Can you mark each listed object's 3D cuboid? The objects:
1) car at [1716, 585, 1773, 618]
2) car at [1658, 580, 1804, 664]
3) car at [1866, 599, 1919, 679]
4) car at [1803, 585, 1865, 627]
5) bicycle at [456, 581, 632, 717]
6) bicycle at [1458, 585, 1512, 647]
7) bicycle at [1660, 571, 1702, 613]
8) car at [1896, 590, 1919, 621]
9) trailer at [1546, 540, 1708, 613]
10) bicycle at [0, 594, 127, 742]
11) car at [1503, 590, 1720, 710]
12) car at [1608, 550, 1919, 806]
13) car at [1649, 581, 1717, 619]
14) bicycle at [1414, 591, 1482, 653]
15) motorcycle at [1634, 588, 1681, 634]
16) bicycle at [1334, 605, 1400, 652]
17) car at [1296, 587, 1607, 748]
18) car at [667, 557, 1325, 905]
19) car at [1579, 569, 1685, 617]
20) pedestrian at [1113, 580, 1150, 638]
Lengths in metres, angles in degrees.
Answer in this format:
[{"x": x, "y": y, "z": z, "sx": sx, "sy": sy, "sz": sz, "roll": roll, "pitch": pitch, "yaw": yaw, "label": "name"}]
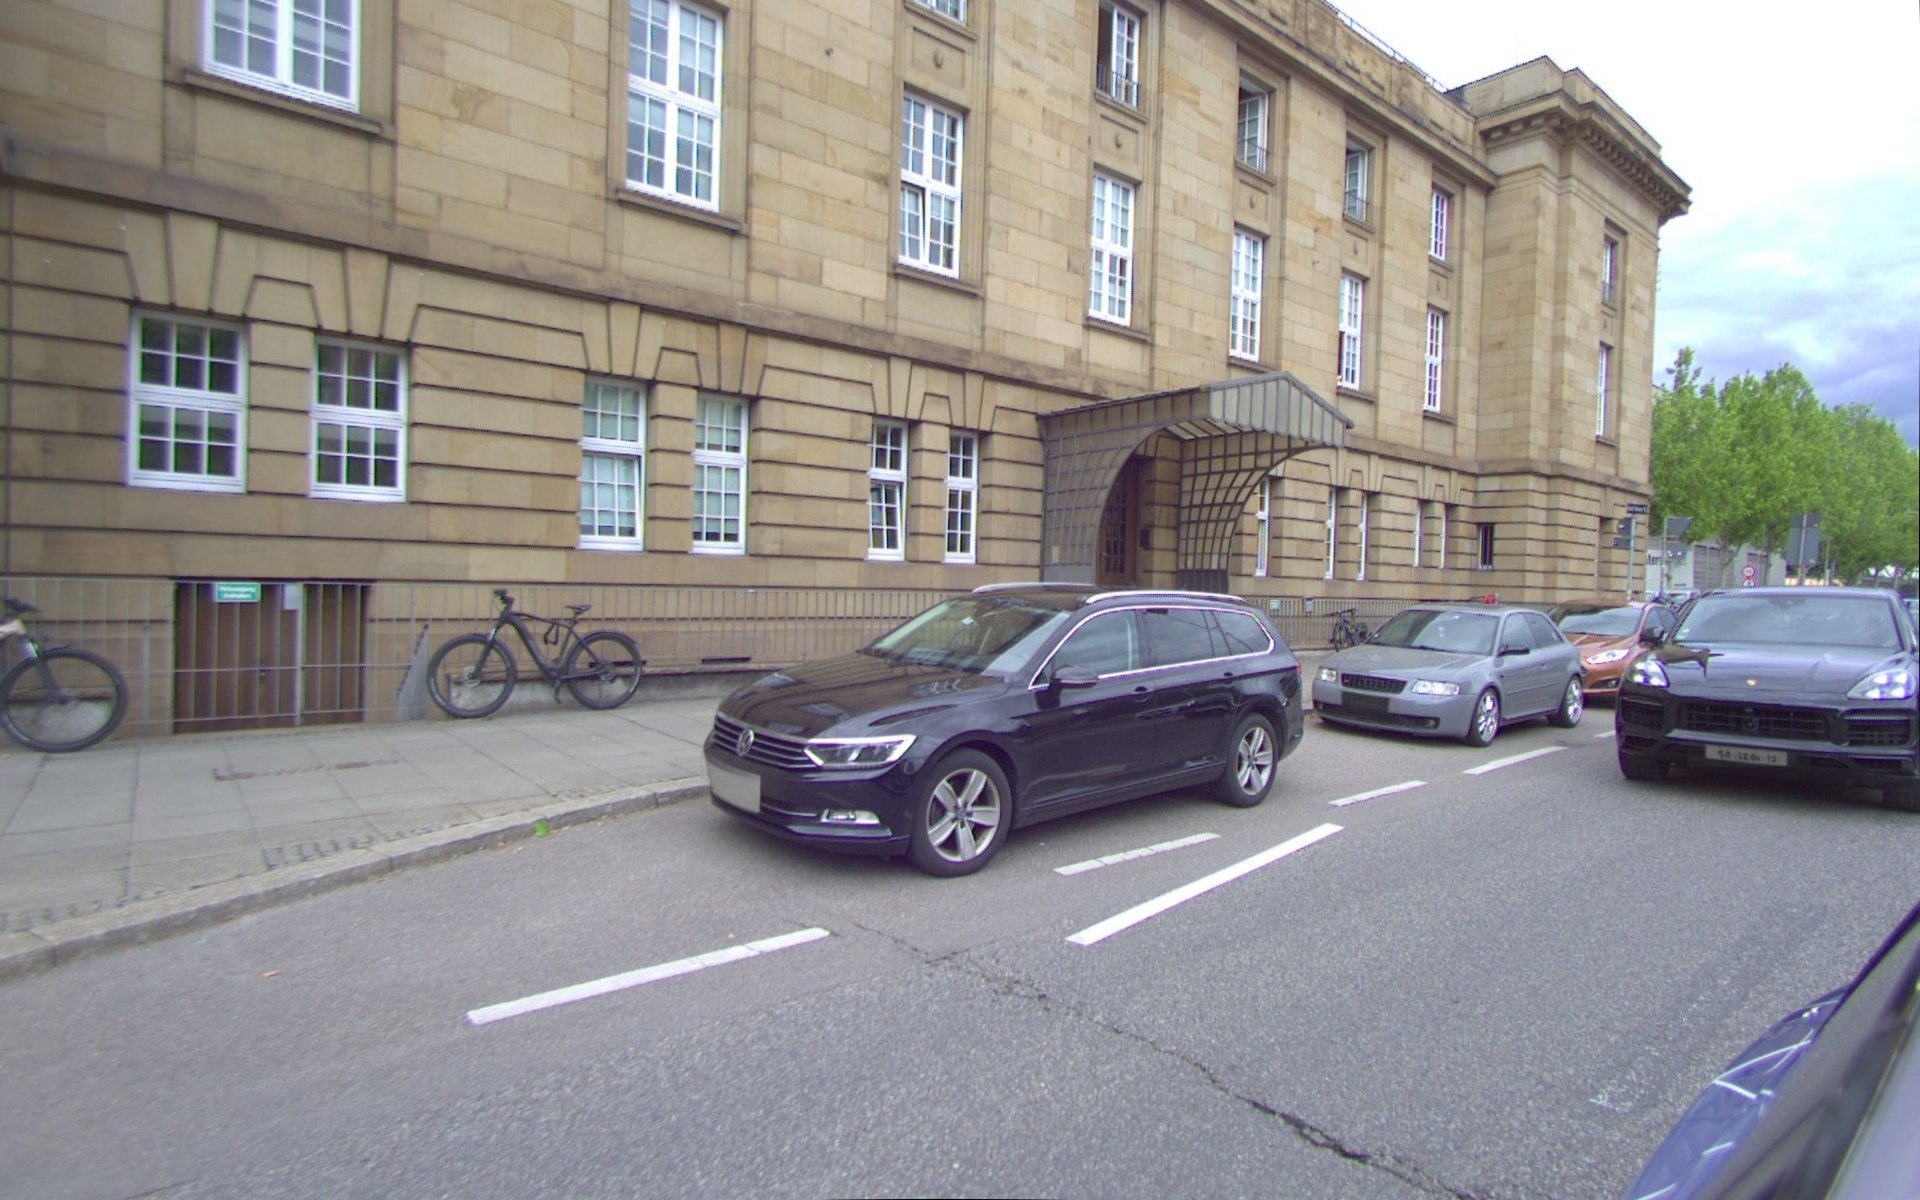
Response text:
[{"x": 37.375, "y": 0.051, "z": 48.212, "sx": 3.444, "sy": 1.549, "sz": 1.582, "roll": 0, "pitch": 1, "yaw": -42, "label": "car"}, {"x": 16.136, "y": 0.423, "z": 21.127, "sx": 3.641, "sy": 1.571, "sz": 1.550, "roll": 0, "pitch": 2, "yaw": -39, "label": "car"}, {"x": 18.529, "y": 0.688, "z": 19.063, "sx": 3.935, "sy": 1.393, "sz": 1.931, "roll": -1, "pitch": 0, "yaw": -45, "label": "car"}, {"x": 38.946, "y": 0.255, "z": 45.045, "sx": 1.805, "sy": 1.760, "sz": 4.413, "roll": 1, "pitch": 0, "yaw": 45, "label": "car"}, {"x": -3.850, "y": 0.423, "z": 9.440, "sx": 1.510, "sy": 1.198, "sz": 0.276, "roll": 0, "pitch": 0, "yaw": -38, "label": "bicycle"}, {"x": 11.633, "y": 0.339, "z": 22.400, "sx": 1.759, "sy": 1.304, "sz": 0.413, "roll": 0, "pitch": 1, "yaw": -40, "label": "bicycle"}, {"x": 22.246, "y": -0.251, "z": 31.211, "sx": 1.929, "sy": 1.239, "sz": 0.610, "roll": 0, "pitch": 4, "yaw": -43, "label": "bicycle"}, {"x": 67.204, "y": 0.388, "z": 70.912, "sx": 3.931, "sy": 2.039, "sz": 1.997, "roll": 0, "pitch": 1, "yaw": -42, "label": "car"}, {"x": 41.366, "y": -1.411, "z": 62.476, "sx": 13.701, "sy": 4.153, "sz": 3.159, "roll": -1, "pitch": 0, "yaw": -33, "label": "trailer"}, {"x": -6.918, "y": 0.472, "z": 6.885, "sx": 1.928, "sy": 1.010, "sz": 0.240, "roll": 0, "pitch": 1, "yaw": -40, "label": "bicycle"}, {"x": 9.609, "y": 0.633, "z": 14.825, "sx": 3.790, "sy": 1.473, "sz": 1.619, "roll": 0, "pitch": 3, "yaw": -41, "label": "car"}, {"x": 7.258, "y": 0.593, "z": 8.662, "sx": 4.128, "sy": 1.679, "sz": 1.905, "roll": 3, "pitch": -2, "yaw": -42, "label": "car"}, {"x": 35.978, "y": -0.004, "z": 50.300, "sx": 4.542, "sy": 1.806, "sz": 1.807, "roll": 0, "pitch": -1, "yaw": -42, "label": "car"}, {"x": 10.300, "y": 0.446, "z": 21.328, "sx": 1.882, "sy": 1.232, "sz": 0.556, "roll": 0, "pitch": 1, "yaw": -40, "label": "bicycle"}, {"x": 19.706, "y": 0.310, "z": 28.584, "sx": 1.887, "sy": 1.257, "sz": 0.456, "roll": 0, "pitch": 2, "yaw": -37, "label": "motorcycle"}, {"x": 7.718, "y": 0.525, "z": 19.155, "sx": 1.844, "sy": 0.855, "sz": 0.307, "roll": 0, "pitch": 0, "yaw": -39, "label": "bicycle"}, {"x": 5.617, "y": 0.615, "z": 11.373, "sx": 3.927, "sy": 1.443, "sz": 1.712, "roll": 0, "pitch": 3, "yaw": -41, "label": "car"}, {"x": 0.476, "y": 0.561, "z": 6.657, "sx": 4.252, "sy": 1.504, "sz": 1.791, "roll": 0, "pitch": 4, "yaw": -42, "label": "car"}, {"x": 21.986, "y": -0.206, "z": 33.056, "sx": 4.495, "sy": 1.487, "sz": 1.781, "roll": 1, "pitch": 0, "yaw": -41, "label": "car"}, {"x": 2.681, "y": 0.141, "z": 15.840, "sx": 0.366, "sy": 0.884, "sz": 0.430, "roll": 0, "pitch": 0, "yaw": -38, "label": "pedestrian"}]
